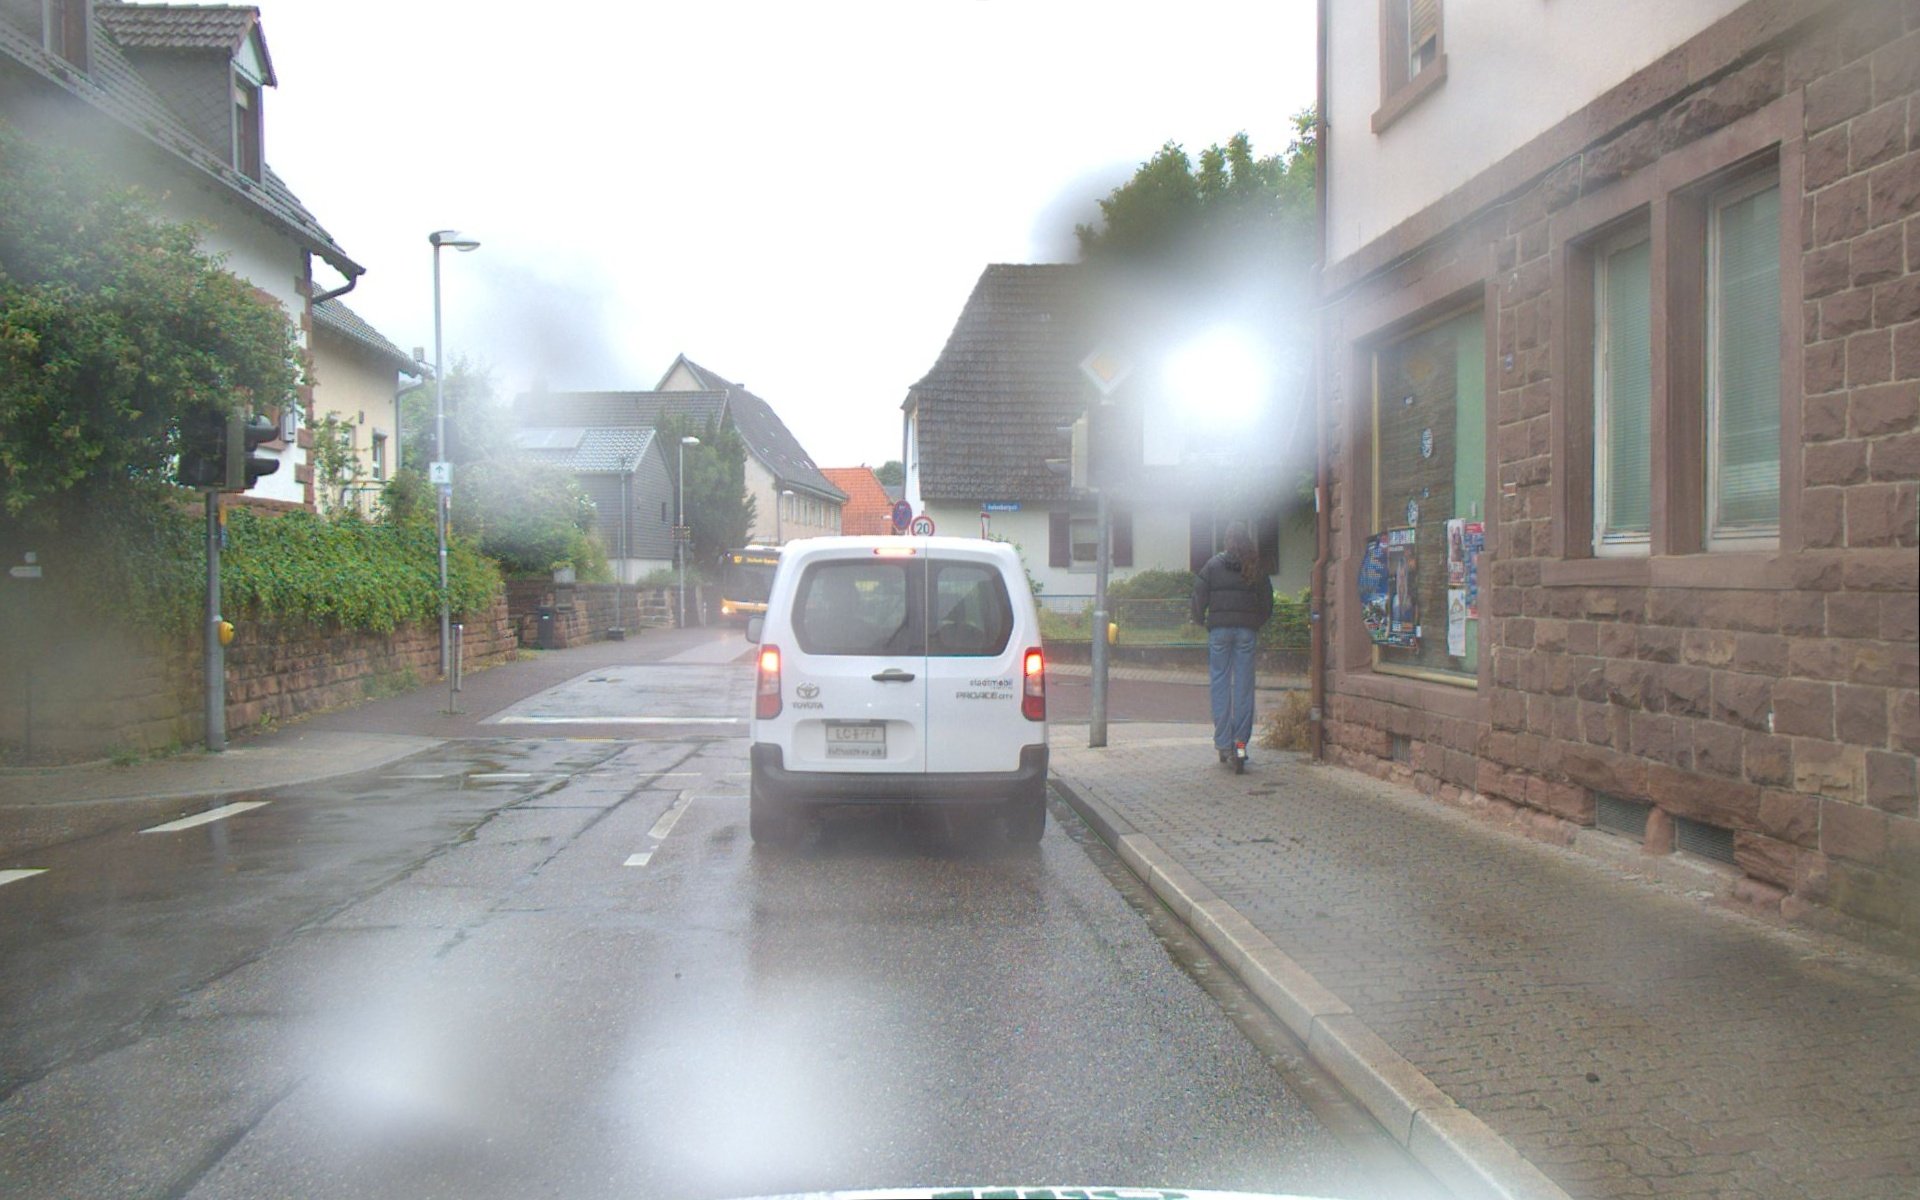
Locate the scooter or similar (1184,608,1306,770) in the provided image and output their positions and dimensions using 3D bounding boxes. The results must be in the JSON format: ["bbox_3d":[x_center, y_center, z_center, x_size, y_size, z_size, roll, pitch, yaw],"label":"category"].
[{"bbox_3d":[2.181,0.657,12.809,0.608,1.146,1.401,0,1,-4],"label":"scooter or similar"}]

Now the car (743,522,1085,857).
[{"bbox_3d":[-0.375,0.484,11.057,1.857,1.825,3.810,1,0,-4],"label":"car"}]

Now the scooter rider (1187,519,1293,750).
[{"bbox_3d":[2.182,0.265,12.911,0.716,1.763,0.517,0,-1,-4],"label":"scooter rider"}]

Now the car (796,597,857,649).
[{"bbox_3d":[-4.416,0.732,55.140,1.773,1.624,3.754,1,0,-2],"label":"car"}]

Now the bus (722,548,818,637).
[{"bbox_3d":[-7.201,-0.441,64.132,2.596,3.051,12.191,1,2,-2],"label":"bus"}]

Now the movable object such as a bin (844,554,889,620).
[{"bbox_3d":[-3.956,-0.566,70.658,1.692,2.699,3.973,1,0,-1],"label":"movable object such as a bin"}]
